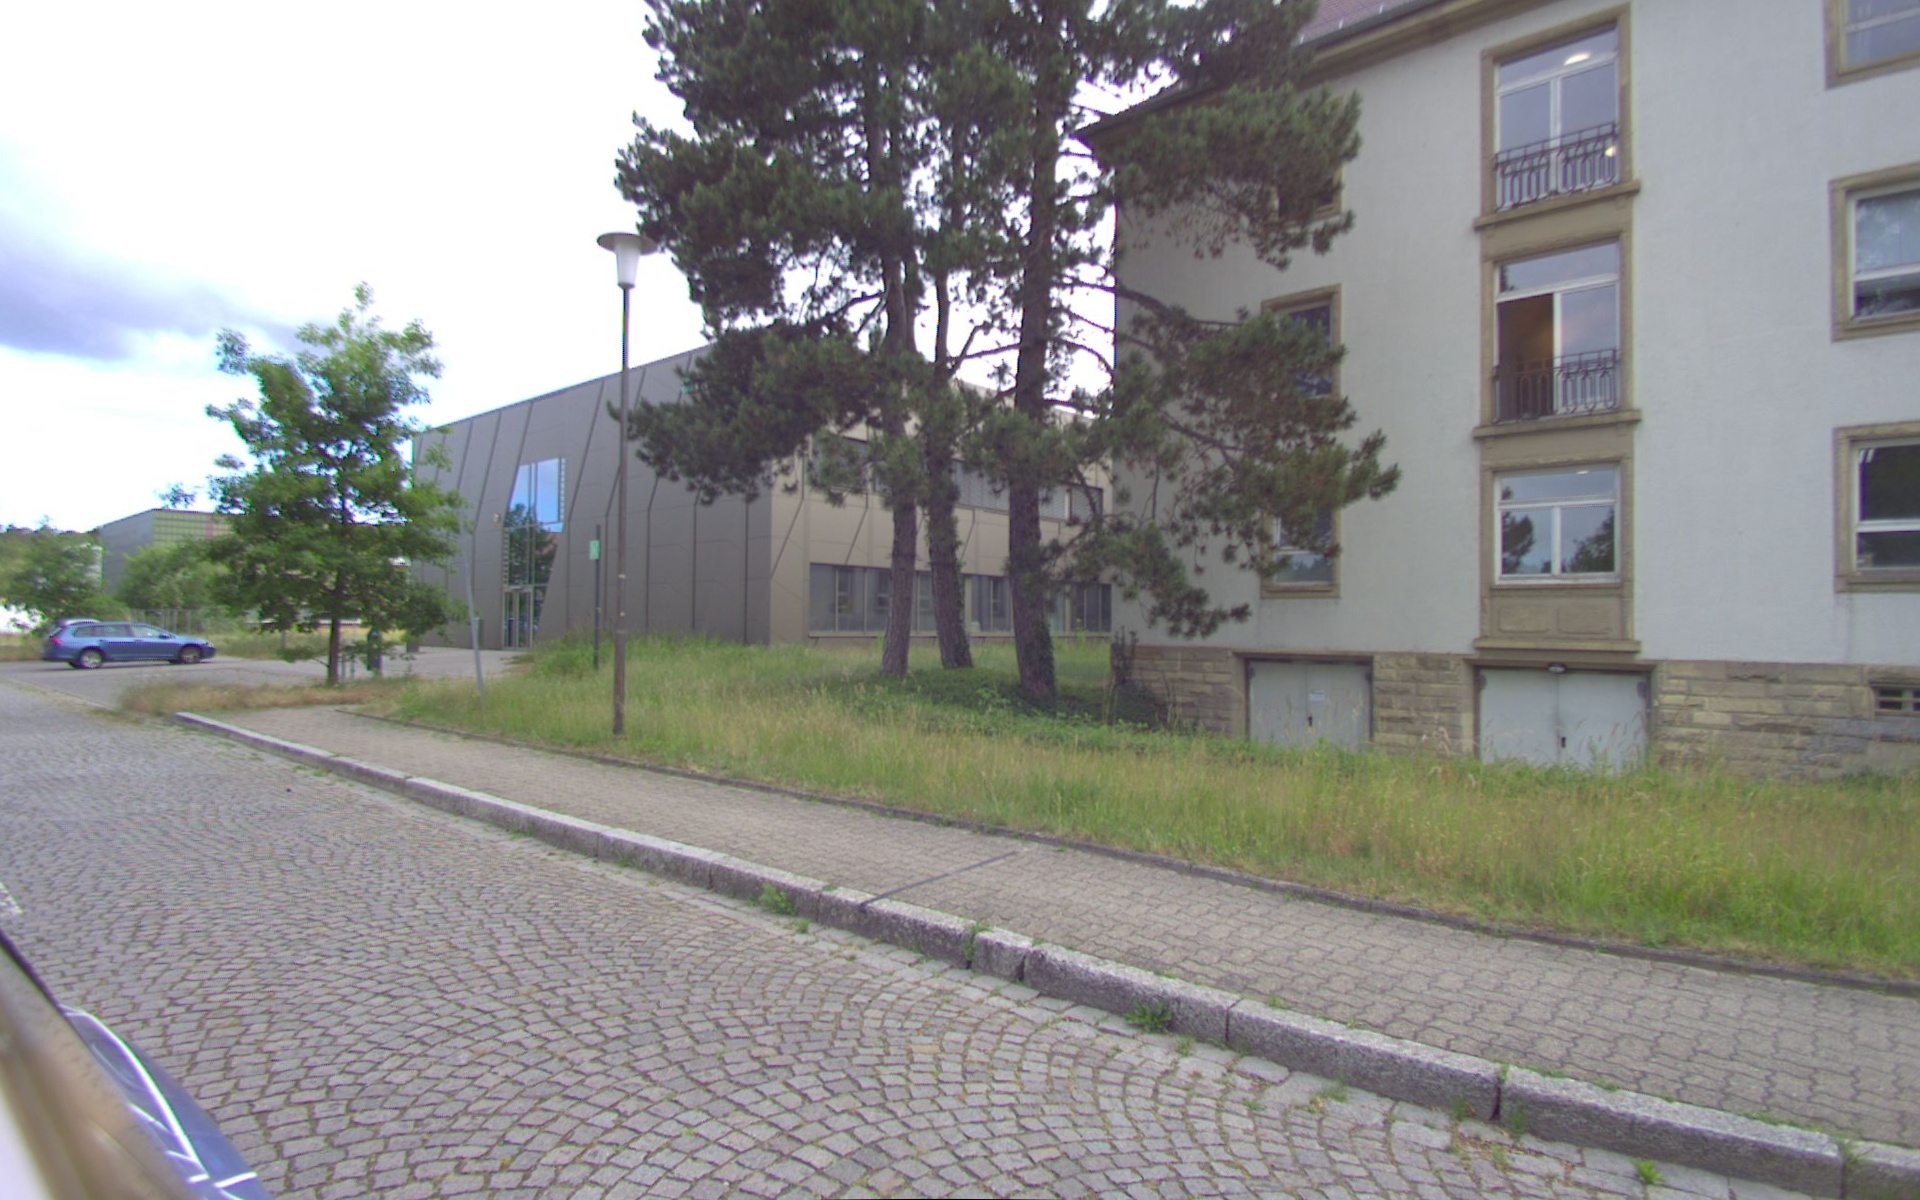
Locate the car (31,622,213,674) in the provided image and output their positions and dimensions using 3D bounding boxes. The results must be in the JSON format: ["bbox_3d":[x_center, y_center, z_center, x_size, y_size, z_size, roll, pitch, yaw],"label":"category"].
[{"bbox_3d":[-27.433,1.515,33.252,1.632,1.481,4.372,-1,0,38],"label":"car"}]

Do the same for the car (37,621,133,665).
[{"bbox_3d":[-32.948,1.585,38.136,1.499,1.541,2.552,-1,0,39],"label":"car"}]
